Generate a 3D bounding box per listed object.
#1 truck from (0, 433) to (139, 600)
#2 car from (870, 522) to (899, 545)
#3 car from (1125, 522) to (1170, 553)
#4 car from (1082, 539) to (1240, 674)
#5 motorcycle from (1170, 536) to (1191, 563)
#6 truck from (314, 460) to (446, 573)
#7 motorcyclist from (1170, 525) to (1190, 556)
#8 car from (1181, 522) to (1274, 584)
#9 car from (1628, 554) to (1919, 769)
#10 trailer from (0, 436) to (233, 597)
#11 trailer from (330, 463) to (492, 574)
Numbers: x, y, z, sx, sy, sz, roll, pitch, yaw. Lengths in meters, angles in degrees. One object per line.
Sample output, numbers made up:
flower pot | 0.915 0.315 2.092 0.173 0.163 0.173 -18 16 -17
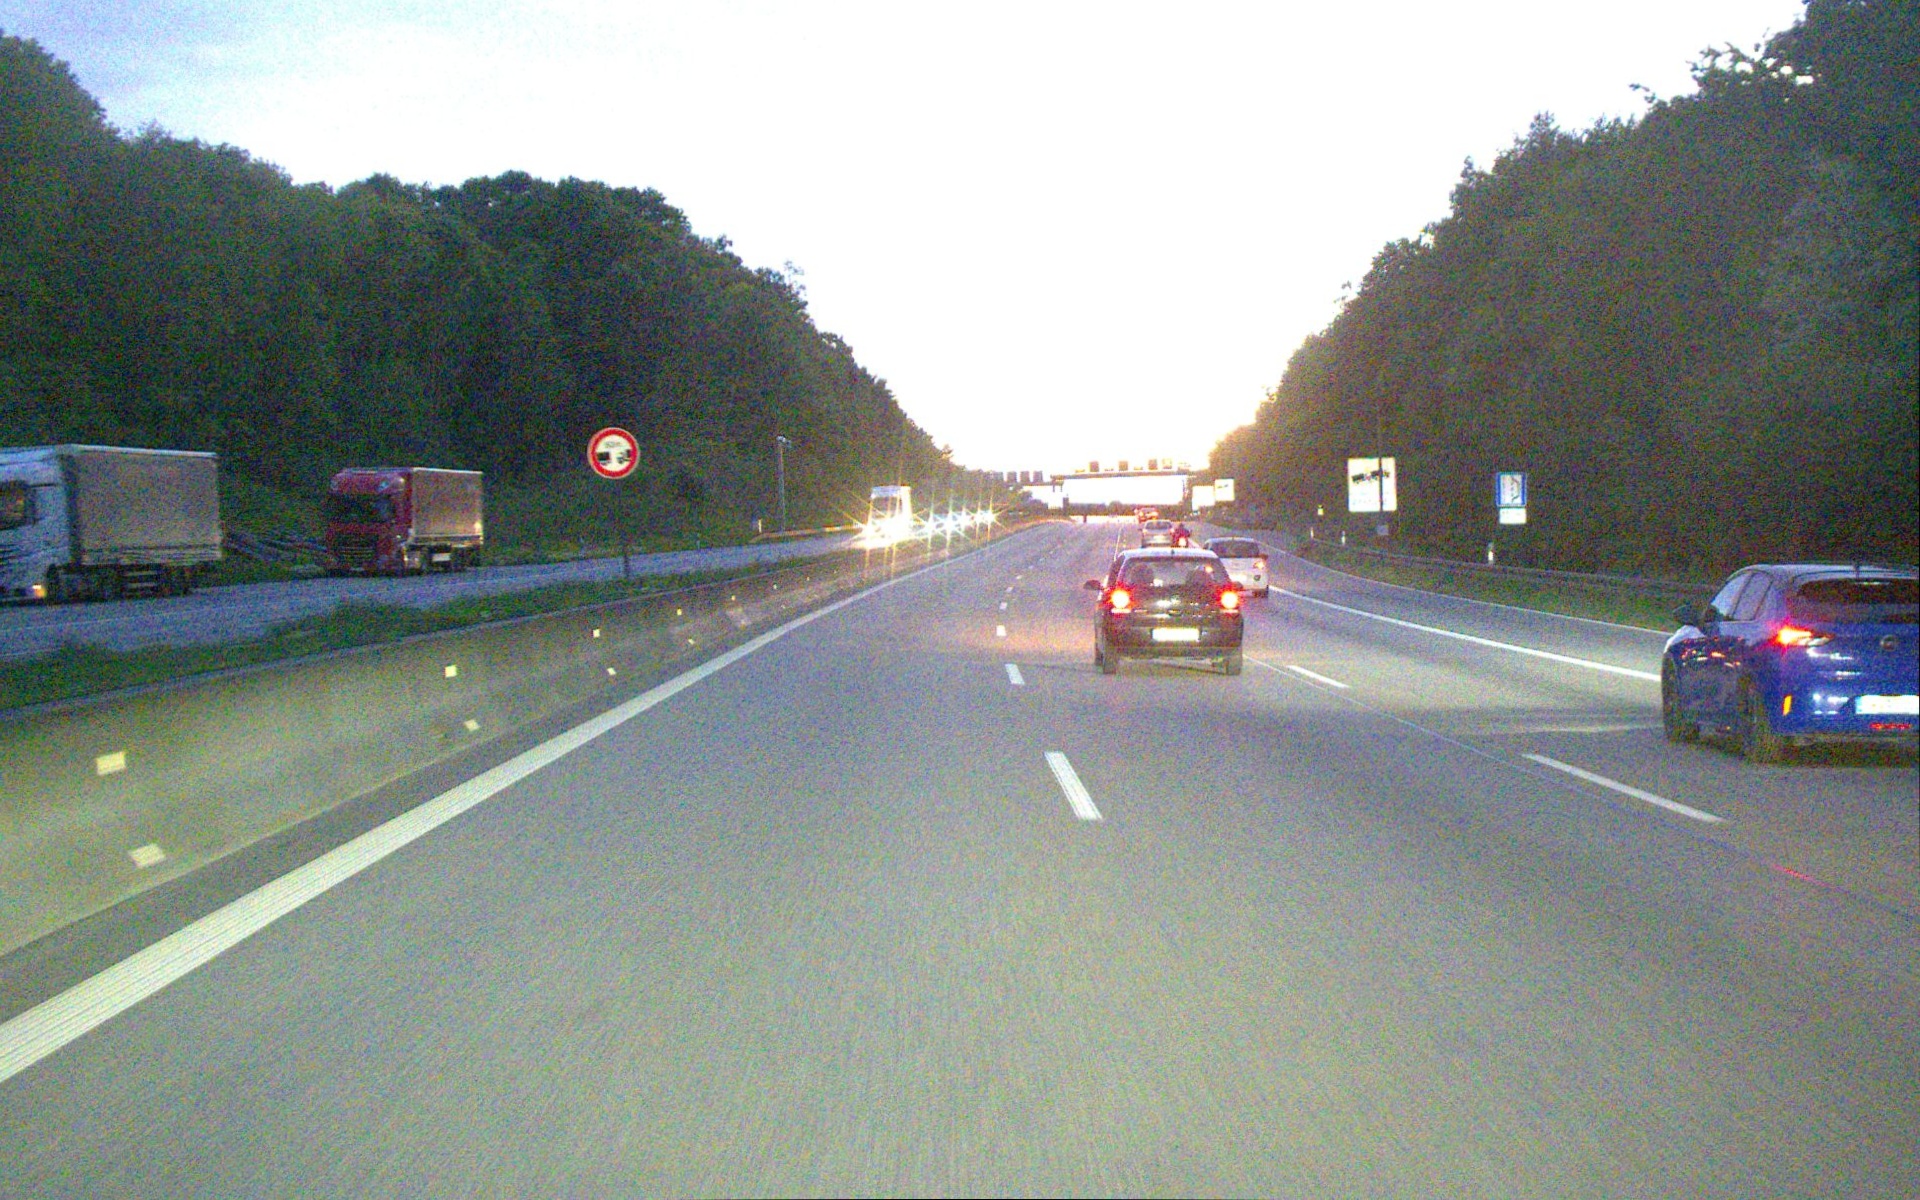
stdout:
truck | -23.758 -2.103 88.050 3.191 4.090 7.688 0 1 4
car | -5.118 -4.536 234.041 1.686 1.510 4.414 0 1 3
car | 9.329 -3.104 171.572 1.865 1.489 4.399 1 0 -2
car | 2.346 0.064 40.938 1.704 1.504 4.232 1 0 1
motorcycle | 9.367 -2.148 146.223 0.830 1.130 2.476 -1 1 3
truck | -21.648 -3.102 128.805 3.191 4.090 7.688 0 1 4
motorcyclist | 9.360 -2.525 146.153 0.830 1.287 1.190 -1 1 3
car | 6.567 -1.154 84.919 1.825 1.471 4.399 1 0 -2
car | 6.372 0.391 25.729 1.865 1.431 4.584 1 1 0
trailer | -23.384 -2.249 94.327 3.191 4.090 13.739 0 1 3
trailer | -21.297 -3.132 134.396 3.191 4.090 14.182 0 1 4
